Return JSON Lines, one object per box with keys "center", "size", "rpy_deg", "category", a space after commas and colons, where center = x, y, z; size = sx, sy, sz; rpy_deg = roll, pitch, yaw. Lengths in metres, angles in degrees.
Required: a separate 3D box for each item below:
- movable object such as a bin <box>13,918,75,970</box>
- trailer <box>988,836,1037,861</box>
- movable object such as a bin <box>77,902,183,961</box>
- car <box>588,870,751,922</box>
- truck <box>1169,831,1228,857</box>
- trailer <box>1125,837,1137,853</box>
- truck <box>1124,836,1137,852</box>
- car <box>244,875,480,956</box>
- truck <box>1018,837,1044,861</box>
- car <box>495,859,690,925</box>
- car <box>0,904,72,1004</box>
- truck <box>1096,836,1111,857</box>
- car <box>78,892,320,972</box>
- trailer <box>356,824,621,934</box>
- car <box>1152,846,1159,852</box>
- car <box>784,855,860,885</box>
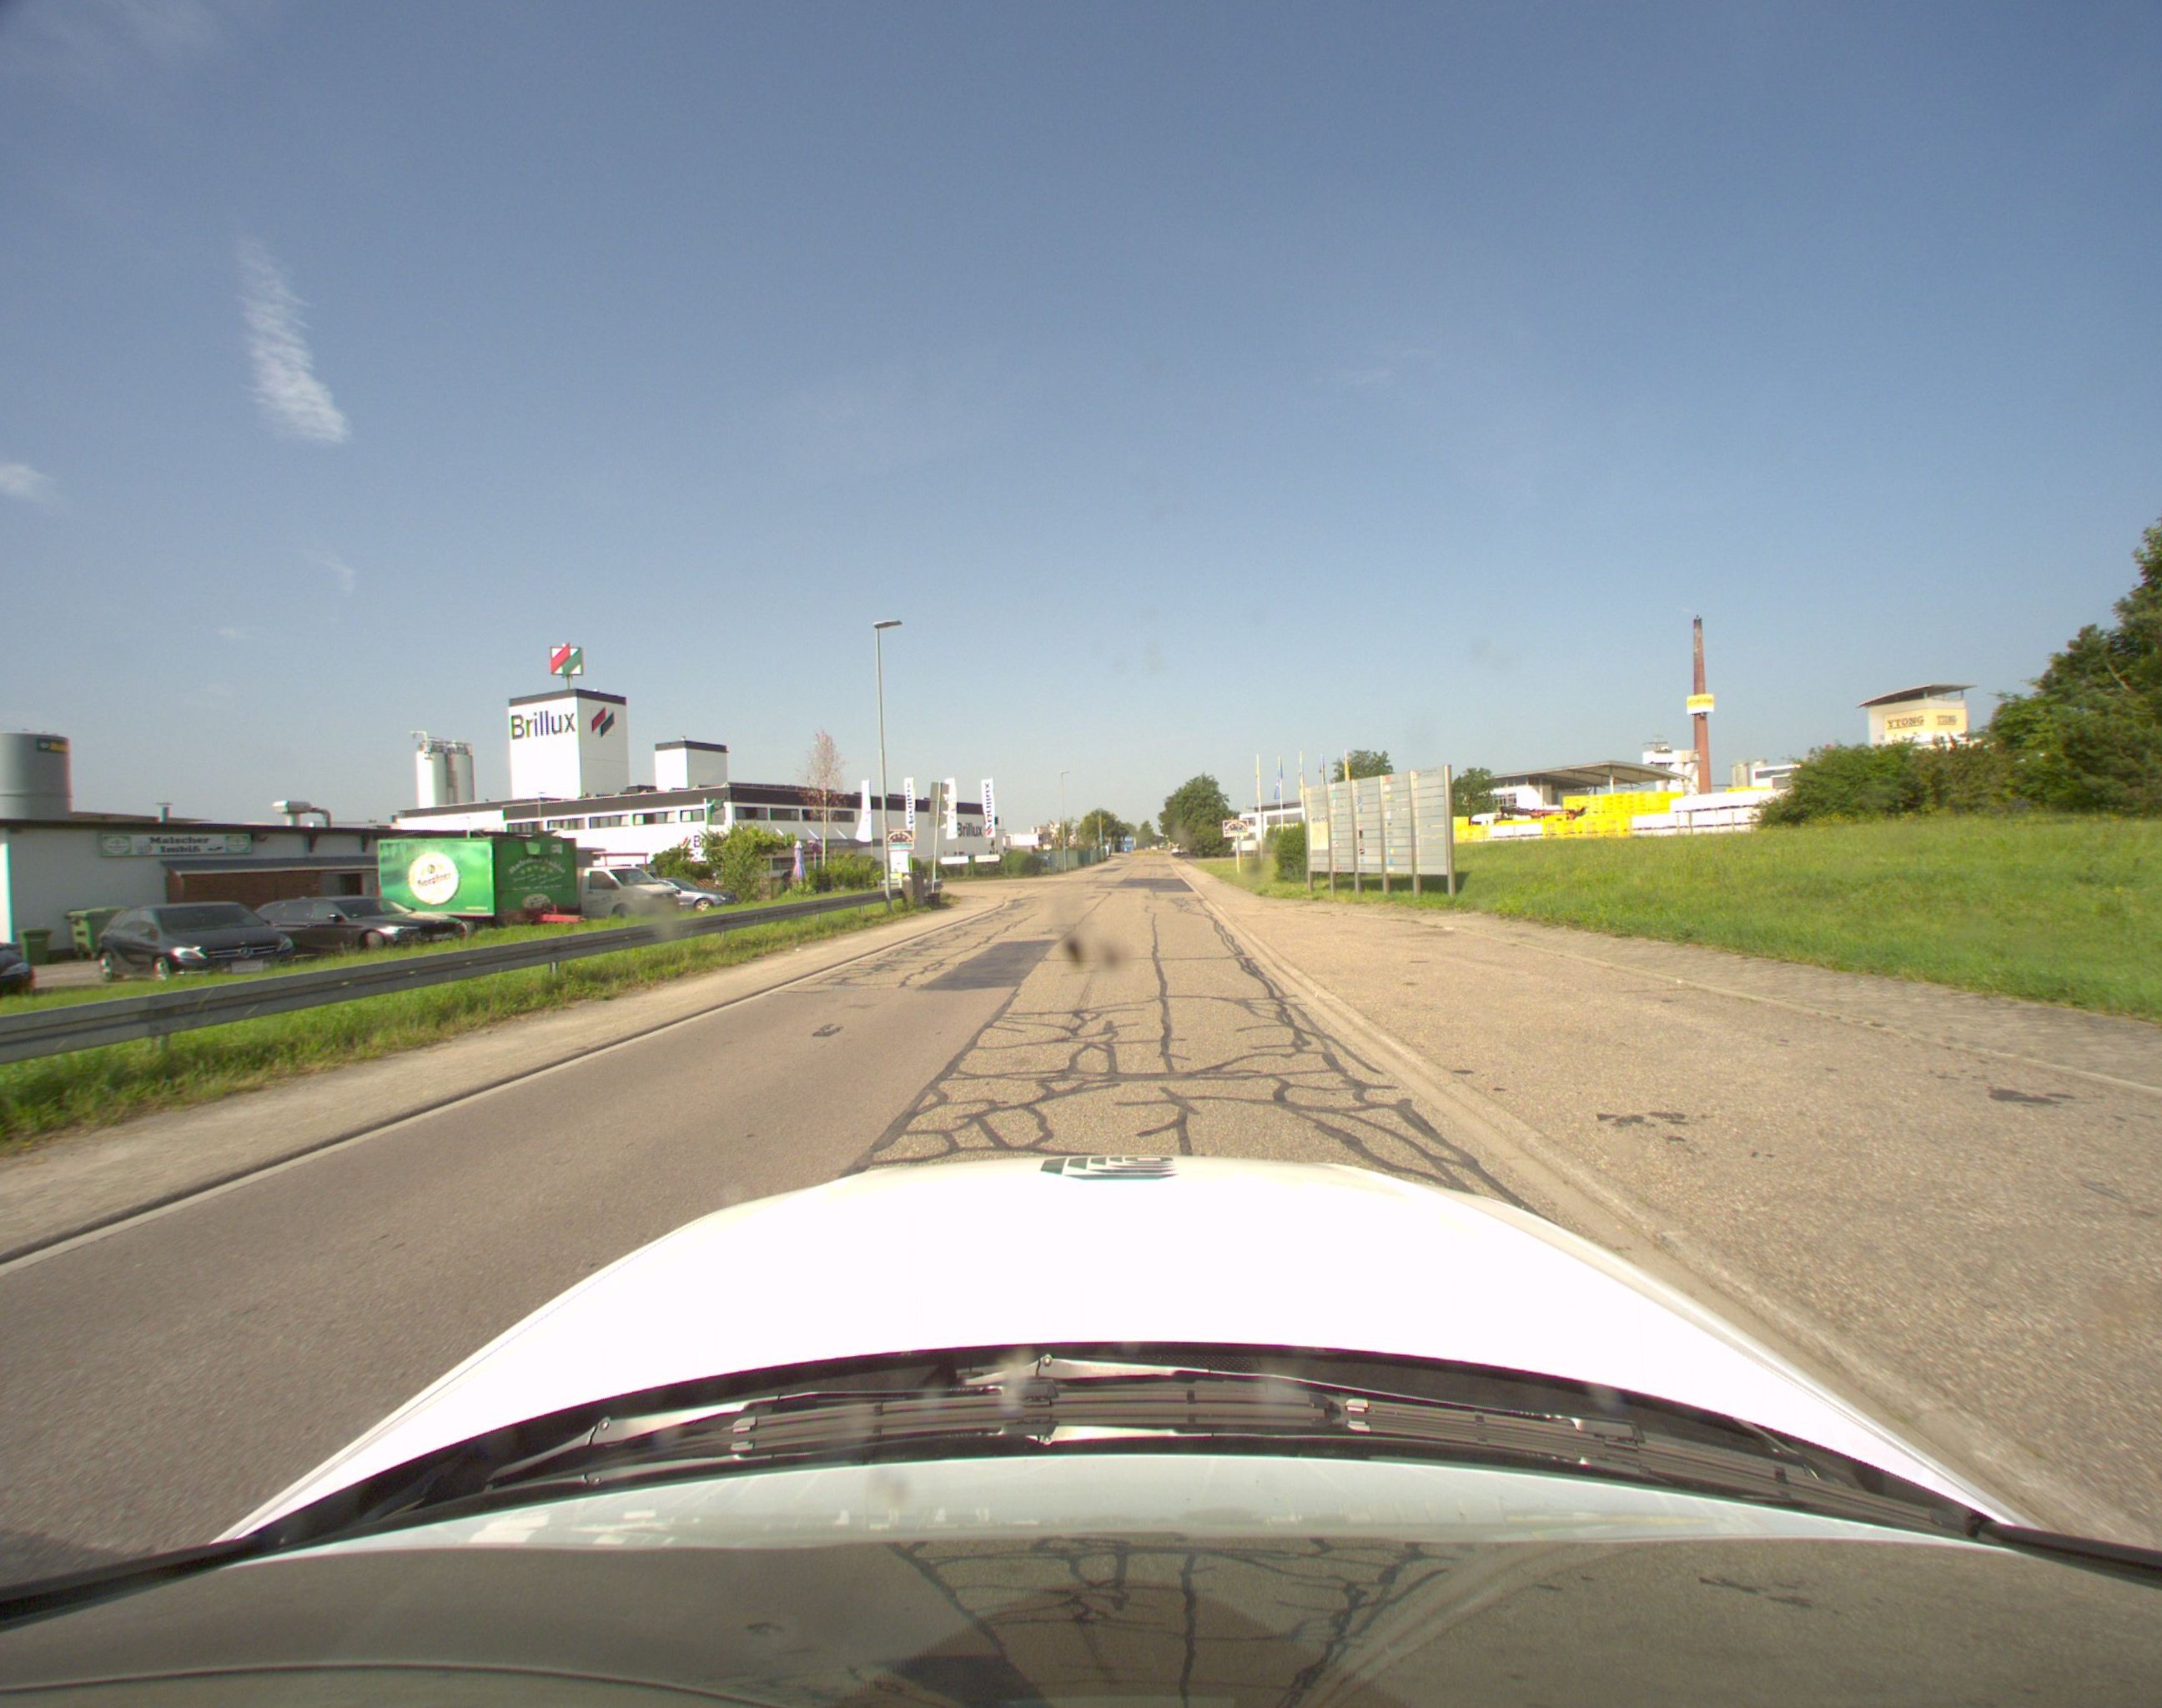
{"center": [-26.425, 2.298, 20.755], "size": [0.627, 1.210, 0.813], "rpy_deg": [-4, 0, 25], "category": "movable object such as a bin"}
{"center": [-11.361, -0.860, 137.633], "size": [2.461, 4.041, 13.960], "rpy_deg": [-1, -1, 21], "category": "trailer"}
{"center": [-25.665, 2.078, 22.010], "size": [0.848, 1.393, 1.626], "rpy_deg": [-4, 0, 25], "category": "movable object such as a bin"}
{"center": [-14.883, 1.487, 29.666], "size": [4.815, 1.510, 1.959], "rpy_deg": [-3, 0, -5], "category": "car"}
{"center": [17.225, -1.465, 119.895], "size": [8.172, 3.370, 2.744], "rpy_deg": [-3, -1, 4], "category": "truck"}
{"center": [13.345, -2.320, 214.916], "size": [2.818, 3.843, 12.052], "rpy_deg": [0, 0, 5], "category": "trailer"}
{"center": [12.494, -2.395, 204.827], "size": [2.812, 3.826, 9.685], "rpy_deg": [0, -1, 5], "category": "truck"}
{"center": [-17.188, 1.467, 19.473], "size": [5.080, 1.534, 2.190], "rpy_deg": [-4, 1, 24], "category": "car"}
{"center": [-8.776, -0.823, 144.462], "size": [2.492, 4.071, 5.571], "rpy_deg": [-1, -1, 20], "category": "truck"}
{"center": [-15.721, 1.210, 26.348], "size": [5.231, 1.706, 2.005], "rpy_deg": [-4, 0, 9], "category": "car"}
{"center": [-19.861, 1.807, 13.844], "size": [5.080, 1.534, 2.037], "rpy_deg": [-4, 1, 24], "category": "car"}
{"center": [4.424, -1.448, 160.883], "size": [2.696, 3.922, 4.302], "rpy_deg": [0, -1, 4], "category": "truck"}
{"center": [-18.200, 1.613, 16.781], "size": [4.906, 1.317, 1.789], "rpy_deg": [-4, 1, 24], "category": "car"}
{"center": [-16.802, 0.710, 23.162], "size": [6.255, 2.604, 2.868], "rpy_deg": [-4, 0, 19], "category": "trailer"}
{"center": [21.306, -1.541, 233.628], "size": [1.711, 1.660, 3.827], "rpy_deg": [0, -1, 3], "category": "car"}
{"center": [-17.561, 1.091, 55.165], "size": [4.607, 1.752, 2.165], "rpy_deg": [-3, 0, 26], "category": "car"}
